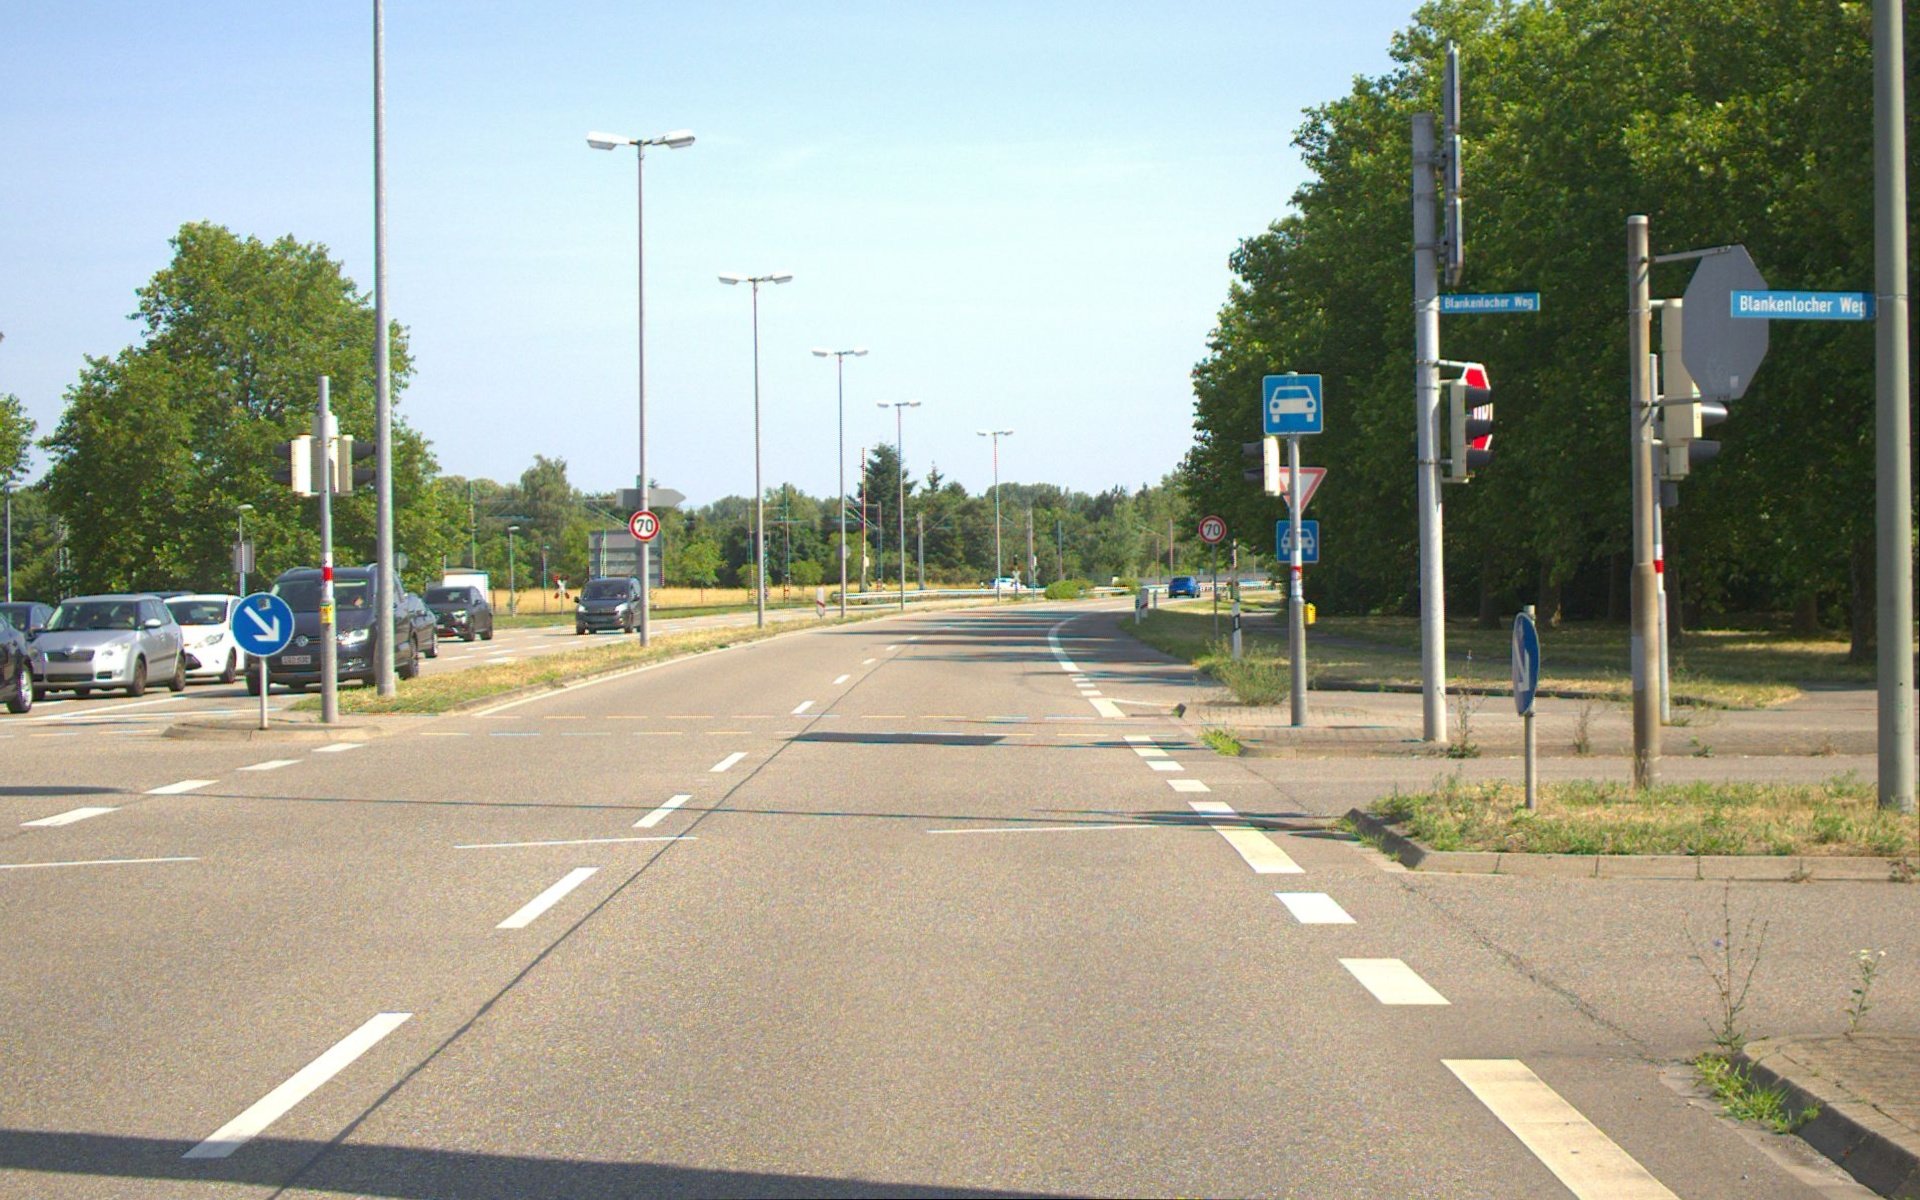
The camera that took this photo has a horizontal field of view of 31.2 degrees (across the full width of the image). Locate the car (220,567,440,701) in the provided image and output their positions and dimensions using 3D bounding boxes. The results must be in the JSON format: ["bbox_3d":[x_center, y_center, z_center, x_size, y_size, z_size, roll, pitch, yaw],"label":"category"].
[{"bbox_3d":[-8.655,0.433,47.616,1.981,1.744,4.507,-1,0,3],"label":"car"}]

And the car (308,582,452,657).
[{"bbox_3d":[-11.852,0.381,70.490,1.981,1.452,4.450,-1,0,3],"label":"car"}]

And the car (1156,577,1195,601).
[{"bbox_3d":[13.792,-0.736,219.686,1.982,1.452,4.116,-1,0,10],"label":"car"}]

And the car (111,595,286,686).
[{"bbox_3d":[-12.489,0.642,56.591,1.829,1.381,3.843,-1,0,3],"label":"car"}]

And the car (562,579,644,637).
[{"bbox_3d":[-11.276,0.232,108.846,1.981,1.773,4.489,-1,0,2],"label":"car"}]

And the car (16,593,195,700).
[{"bbox_3d":[-12.340,0.645,49.841,1.619,1.452,3.871,-1,0,0],"label":"car"}]

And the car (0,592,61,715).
[{"bbox_3d":[-12.396,0.660,41.068,1.981,1.452,4.332,-1,0,3],"label":"car"}]

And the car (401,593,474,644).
[{"bbox_3d":[-15.390,0.529,101.354,1.981,1.452,4.230,-1,0,-7],"label":"car"}]
